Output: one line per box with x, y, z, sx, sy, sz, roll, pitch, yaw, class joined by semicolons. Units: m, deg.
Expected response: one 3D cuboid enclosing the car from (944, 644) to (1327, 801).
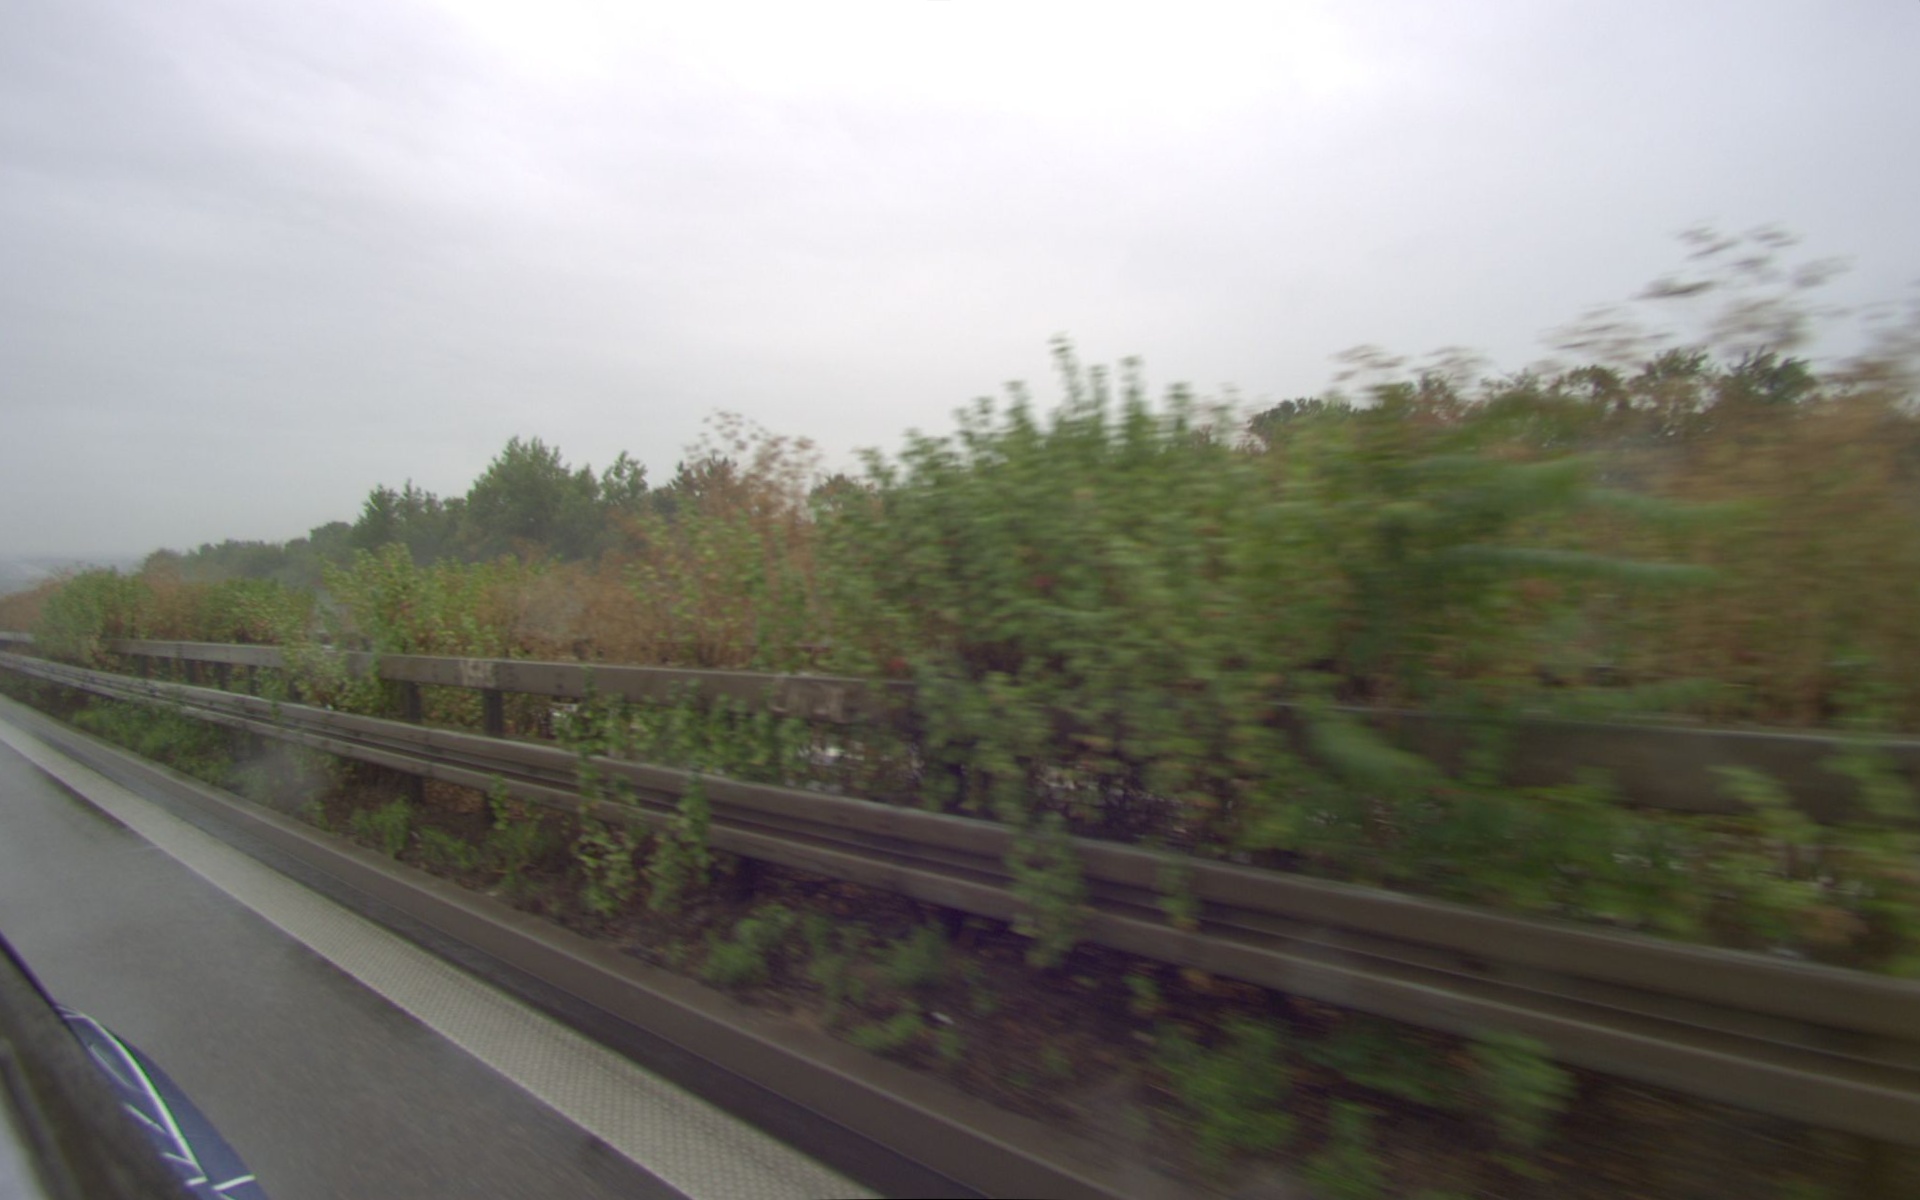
1.980;1.282;11.911;3.994;1.408;1.975;-1;-1;38;car
